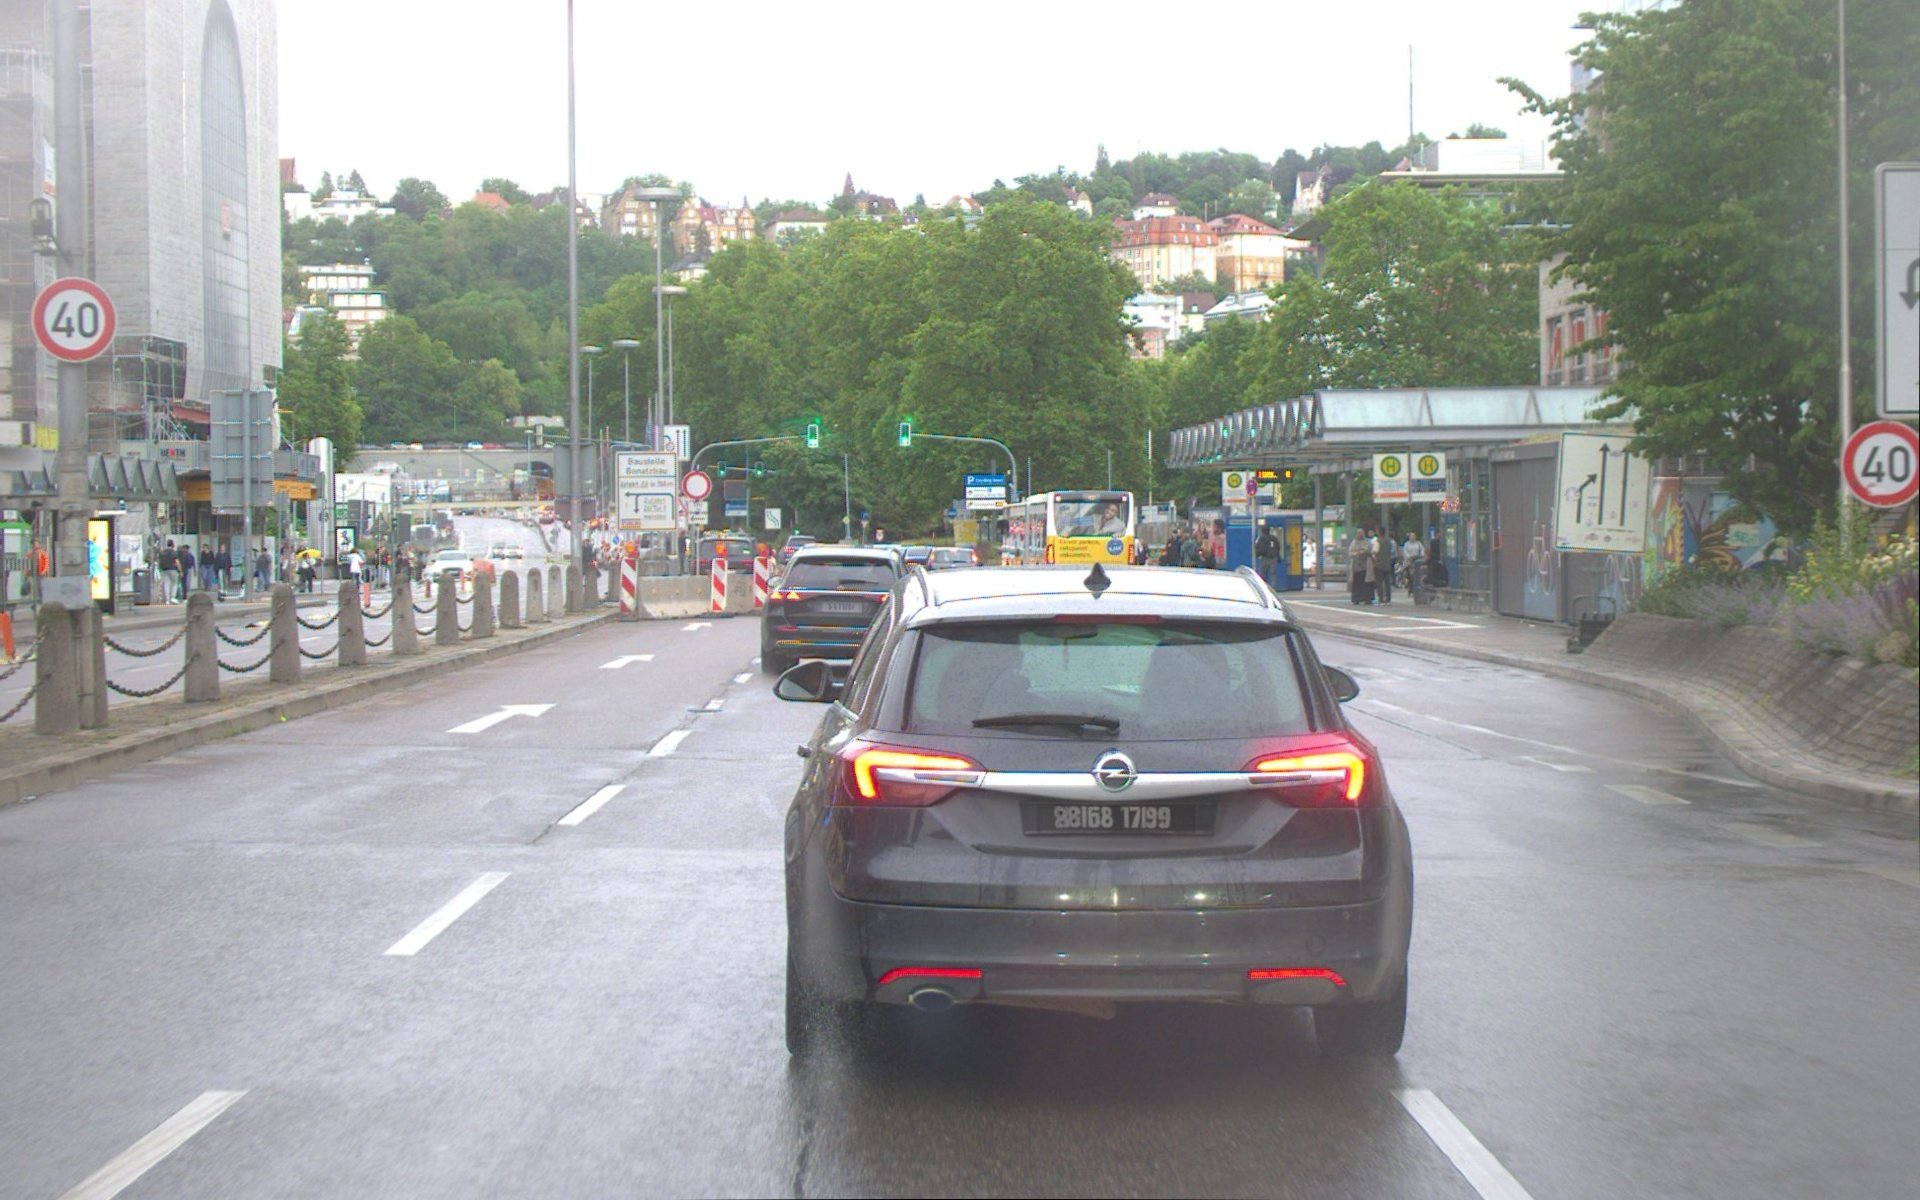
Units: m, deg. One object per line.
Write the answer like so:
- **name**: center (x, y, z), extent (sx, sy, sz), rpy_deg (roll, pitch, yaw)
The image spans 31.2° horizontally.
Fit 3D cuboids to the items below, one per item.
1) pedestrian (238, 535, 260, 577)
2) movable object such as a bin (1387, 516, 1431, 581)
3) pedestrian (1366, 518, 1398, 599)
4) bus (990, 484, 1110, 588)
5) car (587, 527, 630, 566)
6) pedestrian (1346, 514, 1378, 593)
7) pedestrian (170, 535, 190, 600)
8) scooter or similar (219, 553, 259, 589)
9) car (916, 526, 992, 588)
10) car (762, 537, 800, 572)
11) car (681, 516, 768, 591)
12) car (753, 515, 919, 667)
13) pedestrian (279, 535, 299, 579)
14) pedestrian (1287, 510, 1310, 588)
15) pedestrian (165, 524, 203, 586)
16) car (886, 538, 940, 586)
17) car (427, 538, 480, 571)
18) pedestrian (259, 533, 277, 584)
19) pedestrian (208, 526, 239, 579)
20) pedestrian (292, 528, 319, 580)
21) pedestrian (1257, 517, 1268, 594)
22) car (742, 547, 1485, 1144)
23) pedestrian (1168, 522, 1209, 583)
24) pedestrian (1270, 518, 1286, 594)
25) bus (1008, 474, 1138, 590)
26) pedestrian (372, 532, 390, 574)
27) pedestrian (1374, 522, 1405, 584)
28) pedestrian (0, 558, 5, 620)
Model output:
- **pedestrian**: center (-27.471, -1.702, 132.881), extent (0.676, 1.608, 0.839), rpy_deg (0, 1, 0)
- **movable object such as a bin**: center (11.485, -1.312, 87.925), extent (0.662, 1.646, 1.049), rpy_deg (0, 1, -25)
- **pedestrian**: center (9.586, -0.948, 78.103), extent (0.627, 1.830, 0.641), rpy_deg (0, 1, 0)
- **bus**: center (2.848, -2.044, 111.315), extent (3.113, 3.194, 9.243), rpy_deg (1, 1, -3)
- **car**: center (-18.523, -2.808, 180.967), extent (1.993, 2.007, 5.371), rpy_deg (1, 1, -8)
- **pedestrian**: center (9.259, -1.073, 79.173), extent (0.675, 1.830, 0.574), rpy_deg (0, 1, 0)
- **pedestrian**: center (-22.232, -0.934, 97.981), extent (0.507, 1.834, 0.704), rpy_deg (0, 1, -8)
- **scooter or similar**: center (-21.921, -0.891, 104.523), extent (0.459, 1.062, 1.237), rpy_deg (1, 1, 33)
- **car**: center (-0.190, -1.222, 98.619), extent (1.851, 1.711, 4.001), rpy_deg (1, 1, -5)
- **car**: center (-8.661, -2.205, 166.343), extent (1.706, 1.660, 3.706), rpy_deg (1, 1, -1)
- **car**: center (-6.038, -1.210, 88.598), extent (1.993, 1.856, 4.833), rpy_deg (-1, 1, -1)
- **car**: center (-1.431, -0.135, 40.399), extent (1.830, 1.680, 4.134), rpy_deg (0, 1, -1)
- **pedestrian**: center (-26.131, -1.682, 133.835), extent (0.681, 1.679, 0.839), rpy_deg (0, 1, -16)
- **pedestrian**: center (9.672, -1.451, 98.229), extent (0.590, 2.207, 0.587), rpy_deg (0, 1, 0)
- **pedestrian**: center (-23.185, -1.351, 102.734), extent (0.703, 1.834, 0.876), rpy_deg (1, 1, 27)
- **car**: center (-1.588, -1.282, 115.394), extent (1.674, 1.576, 3.240), rpy_deg (1, 0, -3)
- **car**: center (-23.593, -2.115, 160.201), extent (1.993, 1.463, 4.000), rpy_deg (1, 1, -2)
- **pedestrian**: center (-24.813, -1.488, 123.339), extent (0.570, 1.834, 0.705), rpy_deg (0, 1, -16)
- **pedestrian**: center (-25.731, -1.658, 120.174), extent (0.839, 1.834, 1.058), rpy_deg (0, 1, 1)
- **pedestrian**: center (-23.165, -1.617, 121.735), extent (0.875, 1.834, 0.839), rpy_deg (0, 1, -16)
- **pedestrian**: center (7.285, -1.070, 82.790), extent (0.243, 1.830, 0.512), rpy_deg (0, 1, 1)
- **car**: center (0.351, 0.586, 11.131), extent (1.877, 1.503, 4.852), rpy_deg (0, 1, -1)
- **pedestrian**: center (6.294, -1.313, 94.632), extent (0.759, 1.684, 0.999), rpy_deg (0, 1, -23)
- **pedestrian**: center (7.656, -1.067, 82.703), extent (0.347, 1.830, 0.533), rpy_deg (0, 1, 1)
- **bus**: center (3.275, -1.970, 102.156), extent (3.141, 3.236, 9.136), rpy_deg (1, 1, -2)
- **pedestrian**: center (-25.488, -2.077, 151.327), extent (0.697, 1.834, 0.528), rpy_deg (-1, 1, -4)
- **pedestrian**: center (11.939, -1.310, 95.583), extent (0.748, 1.689, 0.902), rpy_deg (0, 1, 1)
- **pedestrian**: center (-20.938, -0.244, 73.788), extent (0.699, 1.321, 0.805), rpy_deg (0, 1, -3)
